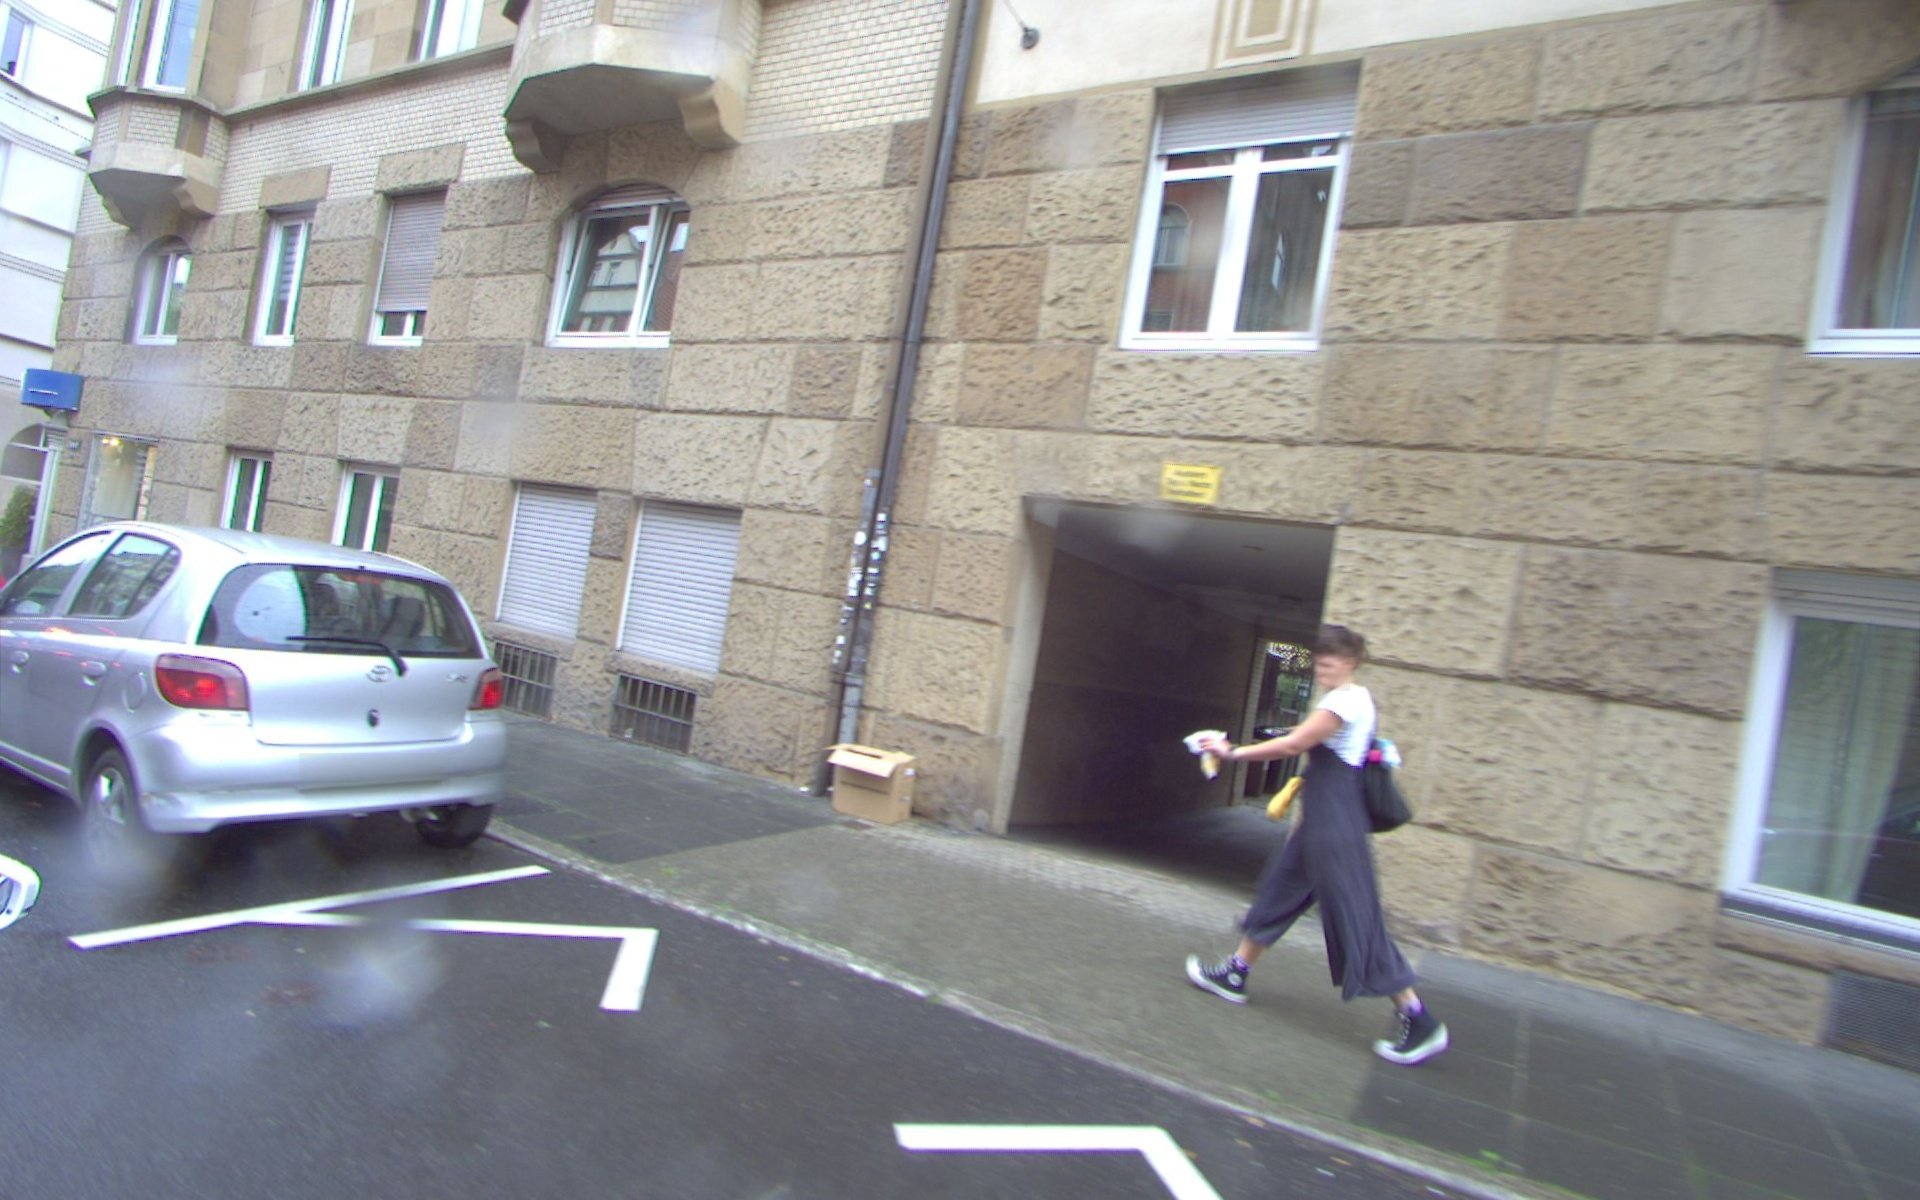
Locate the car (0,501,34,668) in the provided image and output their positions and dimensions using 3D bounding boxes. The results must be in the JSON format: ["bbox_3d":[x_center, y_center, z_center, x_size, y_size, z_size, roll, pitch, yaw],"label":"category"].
[{"bbox_3d":[-10.203,-0.369,9.106,3.243,1.464,1.646,7,-2,29],"label":"car"}]

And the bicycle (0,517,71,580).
[{"bbox_3d":[-20.804,-1.194,21.870,0.815,1.200,2.029,6,-2,41],"label":"bicycle"}]

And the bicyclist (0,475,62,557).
[{"bbox_3d":[-20.616,-1.854,21.981,0.875,1.616,1.248,6,-2,41],"label":"bicyclist"}]

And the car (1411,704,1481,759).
[{"bbox_3d":[16.887,4.531,34.851,1.693,1.538,4.102,7,-3,31],"label":"car"}]

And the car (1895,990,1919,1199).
[{"bbox_3d":[3.549,1.180,0.651,3.932,1.617,1.807,7,-2,30],"label":"car"}]

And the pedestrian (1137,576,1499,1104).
[{"bbox_3d":[1.474,0.865,4.123,1.093,1.768,0.743,6,-1,32],"label":"pedestrian"}]

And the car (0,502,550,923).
[{"bbox_3d":[-3.957,0.378,5.324,3.258,1.485,1.616,7,-1,33],"label":"car"}]
